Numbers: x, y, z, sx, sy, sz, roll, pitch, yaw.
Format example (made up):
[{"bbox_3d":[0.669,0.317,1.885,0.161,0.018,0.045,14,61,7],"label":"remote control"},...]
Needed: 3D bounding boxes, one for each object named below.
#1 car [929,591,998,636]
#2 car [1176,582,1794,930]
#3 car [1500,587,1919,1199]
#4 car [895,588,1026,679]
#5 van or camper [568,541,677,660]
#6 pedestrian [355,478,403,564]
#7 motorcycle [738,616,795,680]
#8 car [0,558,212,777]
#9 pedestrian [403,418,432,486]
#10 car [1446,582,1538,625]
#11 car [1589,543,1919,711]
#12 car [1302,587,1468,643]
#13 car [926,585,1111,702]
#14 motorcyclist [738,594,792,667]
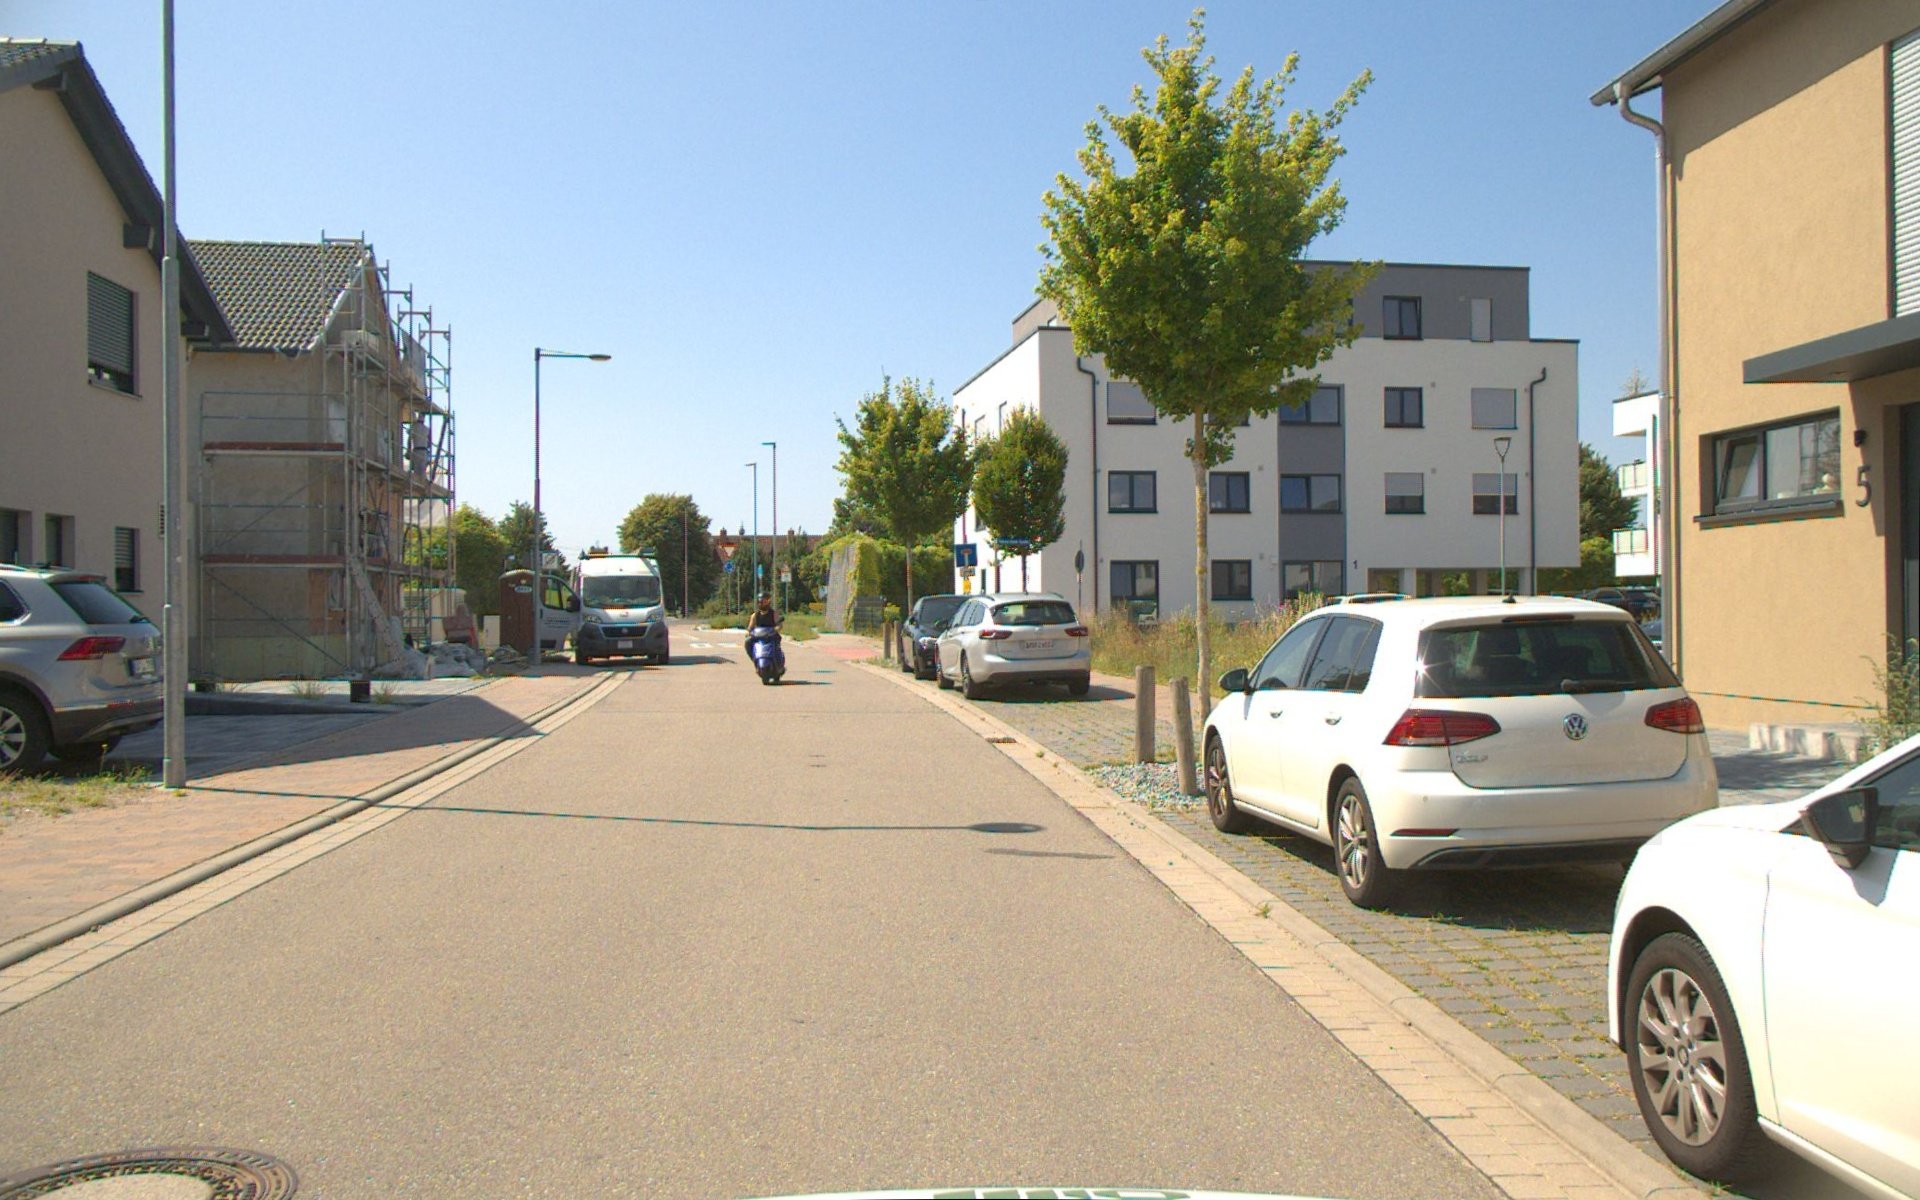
[{"bbox_3d":[0.084,0.450,58.052,1.647,1.495,4.105,0,0,-11],"label":"car"},{"bbox_3d":[2.619,0.654,9.516,1.745,1.450,4.509,-2,1,-5],"label":"car"},{"bbox_3d":[2.820,0.718,3.189,1.778,1.481,4.561,-2,0,-4],"label":"car"},{"bbox_3d":[-0.090,0.566,31.379,1.882,1.495,5.132,-2,1,-7],"label":"car"},{"bbox_3d":[-8.124,0.042,39.368,2.235,2.598,6.342,-1,-1,-14],"label":"van or camper"},{"bbox_3d":[-12.030,-1.615,34.242,0.567,1.709,0.744,-3,-3,39],"label":"pedestrian"},{"bbox_3d":[-3.433,0.826,29.330,0.937,1.053,2.432,-1,0,-7],"label":"motorcycle"},{"bbox_3d":[-8.635,0.539,13.300,4.342,1.640,1.996,-1,0,-9],"label":"car"},{"bbox_3d":[-12.988,-3.538,39.594,0.551,1.526,0.746,-1,-2,-11],"label":"pedestrian"},{"bbox_3d":[19.948,0.141,62.169,1.842,1.529,3.671,-1,-1,-9],"label":"car"},{"bbox_3d":[9.698,0.265,18.382,4.656,1.673,1.997,-2,-1,-7],"label":"car"},{"bbox_3d":[11.864,0.412,46.272,4.083,1.461,1.878,-1,-1,-11],"label":"car"},{"bbox_3d":[0.764,0.566,25.381,1.883,1.537,5.285,-2,1,-8],"label":"car"},{"bbox_3d":[-3.412,0.520,29.001,0.907,1.244,0.802,-1,1,-6],"label":"motorcyclist"}]
